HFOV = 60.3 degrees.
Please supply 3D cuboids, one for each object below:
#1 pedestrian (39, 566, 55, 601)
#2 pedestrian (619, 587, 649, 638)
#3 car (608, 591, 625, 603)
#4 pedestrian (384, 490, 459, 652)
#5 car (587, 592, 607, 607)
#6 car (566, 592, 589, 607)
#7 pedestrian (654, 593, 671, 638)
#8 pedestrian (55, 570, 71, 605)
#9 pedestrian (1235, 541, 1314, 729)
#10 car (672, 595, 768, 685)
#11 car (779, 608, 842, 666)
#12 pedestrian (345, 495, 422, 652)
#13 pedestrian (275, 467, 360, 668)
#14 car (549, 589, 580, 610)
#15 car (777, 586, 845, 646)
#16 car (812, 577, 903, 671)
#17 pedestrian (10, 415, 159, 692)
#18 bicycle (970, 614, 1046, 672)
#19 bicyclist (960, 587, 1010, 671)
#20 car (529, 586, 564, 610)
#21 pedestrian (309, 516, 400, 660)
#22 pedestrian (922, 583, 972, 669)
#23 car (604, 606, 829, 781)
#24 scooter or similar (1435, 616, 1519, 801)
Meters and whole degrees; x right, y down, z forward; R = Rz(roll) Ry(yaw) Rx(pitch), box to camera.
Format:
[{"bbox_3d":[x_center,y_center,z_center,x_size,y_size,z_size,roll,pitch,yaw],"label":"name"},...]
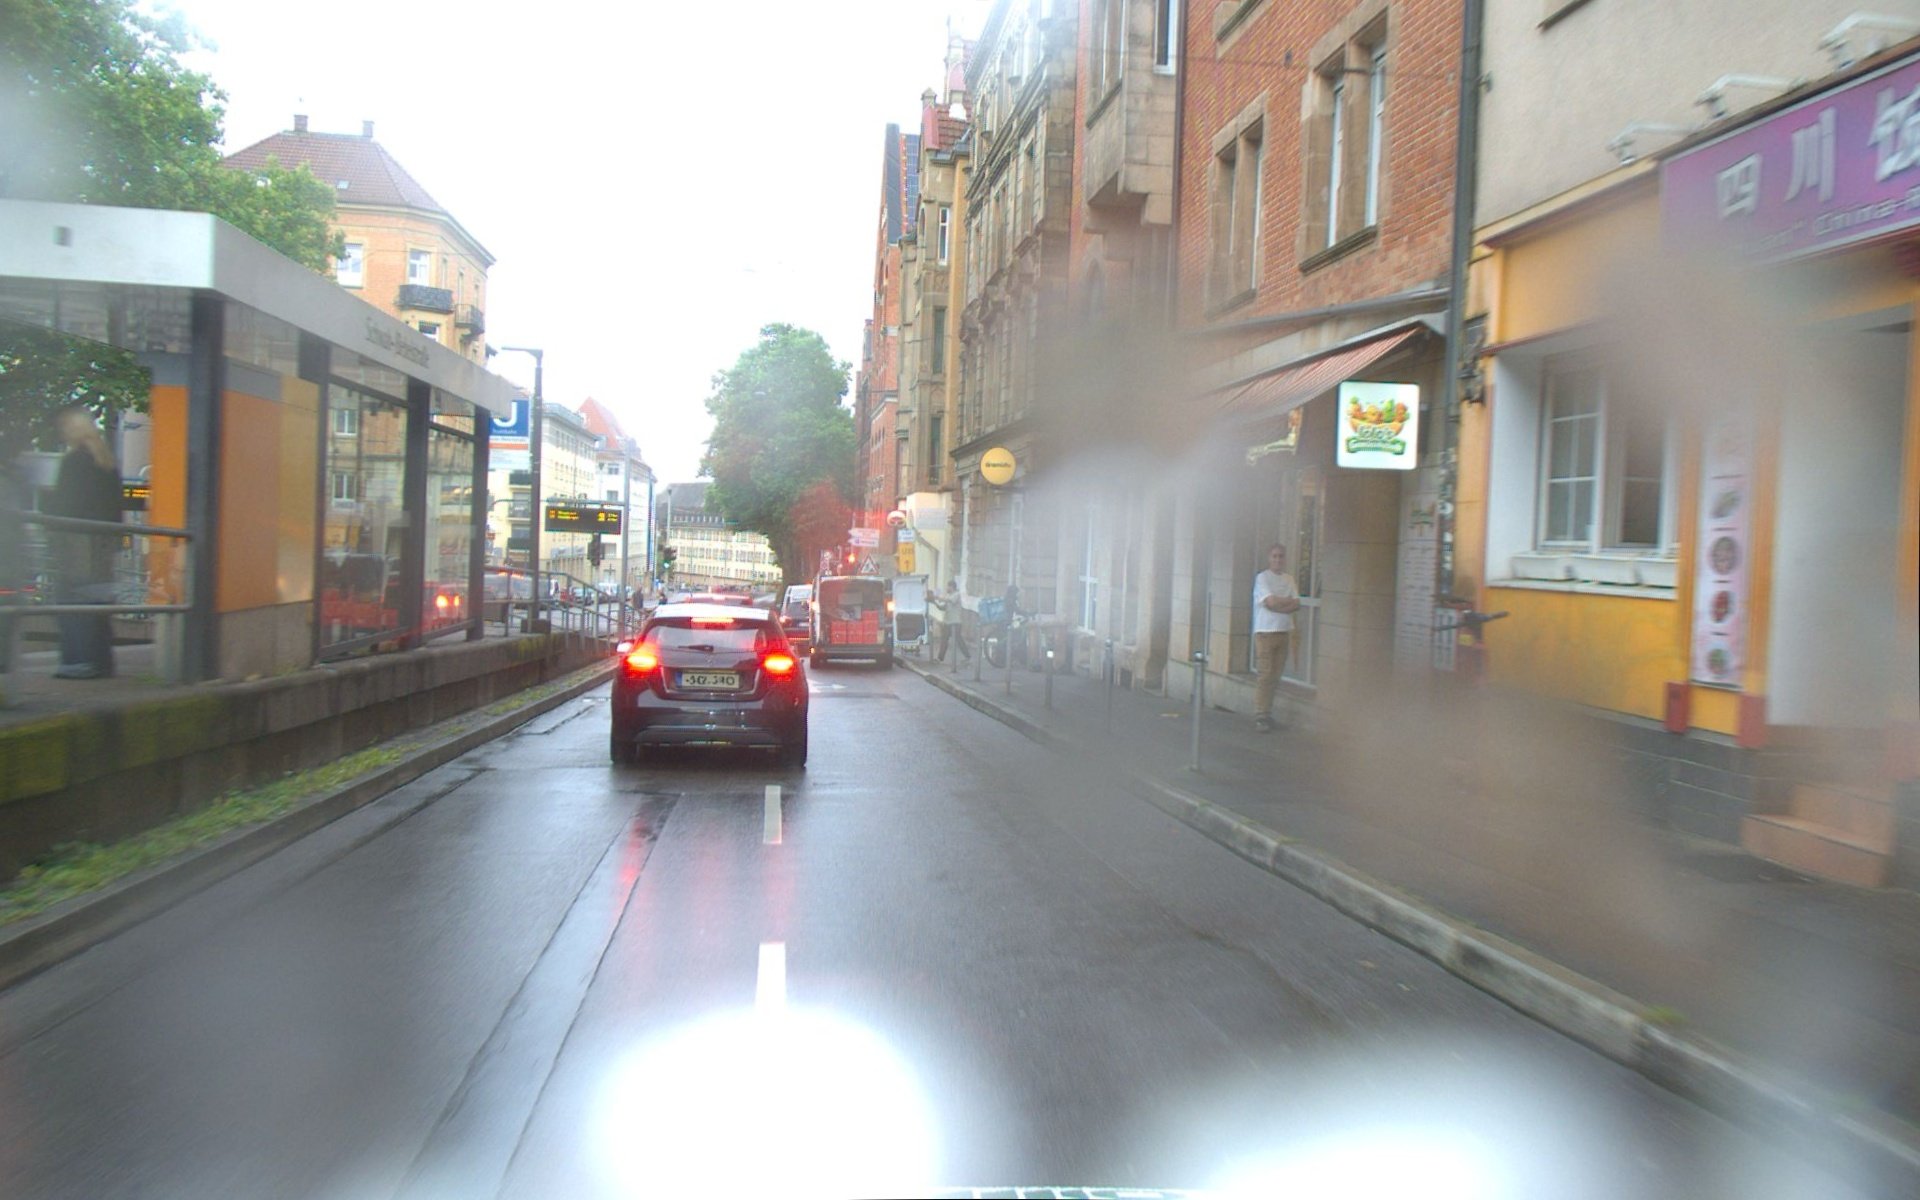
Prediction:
[{"bbox_3d":[-43.753,-0.772,79.265,0.478,1.650,0.514,1,0,44],"label":"pedestrian"},{"bbox_3d":[-11.507,0.445,58.392,0.727,1.754,0.737,1,0,40],"label":"pedestrian"},{"bbox_3d":[-33.575,-0.297,161.704,1.368,1.191,3.157,2,0,-6],"label":"car"},{"bbox_3d":[-5.867,-0.312,18.048,0.601,1.717,0.587,2,0,-3],"label":"pedestrian"},{"bbox_3d":[-31.745,-0.048,144.713,1.368,1.191,3.157,2,0,-6],"label":"car"},{"bbox_3d":[-30.284,-0.020,130.985,1.409,1.126,3.157,2,0,-6],"label":"car"},{"bbox_3d":[-10.520,0.536,58.458,0.522,1.557,0.435,2,0,-15],"label":"pedestrian"},{"bbox_3d":[-43.107,-0.608,79.502,0.478,1.650,0.514,1,0,44],"label":"pedestrian"},{"bbox_3d":[3.184,0.349,16.776,0.567,1.862,0.562,-2,-1,-9],"label":"pedestrian"},{"bbox_3d":[-4.443,0.694,30.614,1.648,1.515,3.606,1,0,-9],"label":"car"},{"bbox_3d":[-4.250,1.031,47.538,1.679,1.494,4.277,2,0,-4],"label":"car"},{"bbox_3d":[-6.073,-0.274,17.441,0.601,1.609,0.507,2,0,-3],"label":"pedestrian"},{"bbox_3d":[-5.317,-0.264,13.716,0.496,1.617,0.527,2,0,-7],"label":"pedestrian"},{"bbox_3d":[-28.426,-0.042,118.963,1.648,1.379,3.698,2,0,-6],"label":"car"},{"bbox_3d":[-4.976,0.492,54.839,1.897,1.863,4.272,2,0,-9],"label":"car"},{"bbox_3d":[-2.409,0.510,37.841,1.884,1.969,4.680,2,0,-6],"label":"car"},{"bbox_3d":[-5.340,-0.280,10.113,0.485,1.633,0.637,1,0,10],"label":"pedestrian"},{"bbox_3d":[0.979,0.861,33.553,1.674,1.135,0.458,0,0,-41],"label":"bicycle"},{"bbox_3d":[0.510,0.577,33.787,0.841,1.686,0.623,0,0,-38],"label":"bicyclist"},{"bbox_3d":[-27.946,-0.166,111.868,1.753,1.557,4.455,2,0,-8],"label":"car"},{"bbox_3d":[-5.410,-0.108,14.798,0.601,1.248,0.507,2,0,-3],"label":"pedestrian"},{"bbox_3d":[-0.269,0.543,35.024,0.825,1.784,0.680,1,0,-31],"label":"pedestrian"},{"bbox_3d":[-2.258,0.805,16.018,1.858,1.414,3.995,1,0,-6],"label":"car"},{"bbox_3d":[3.706,0.747,11.904,0.252,1.243,1.195,2,0,3],"label":"scooter or similar"}]
